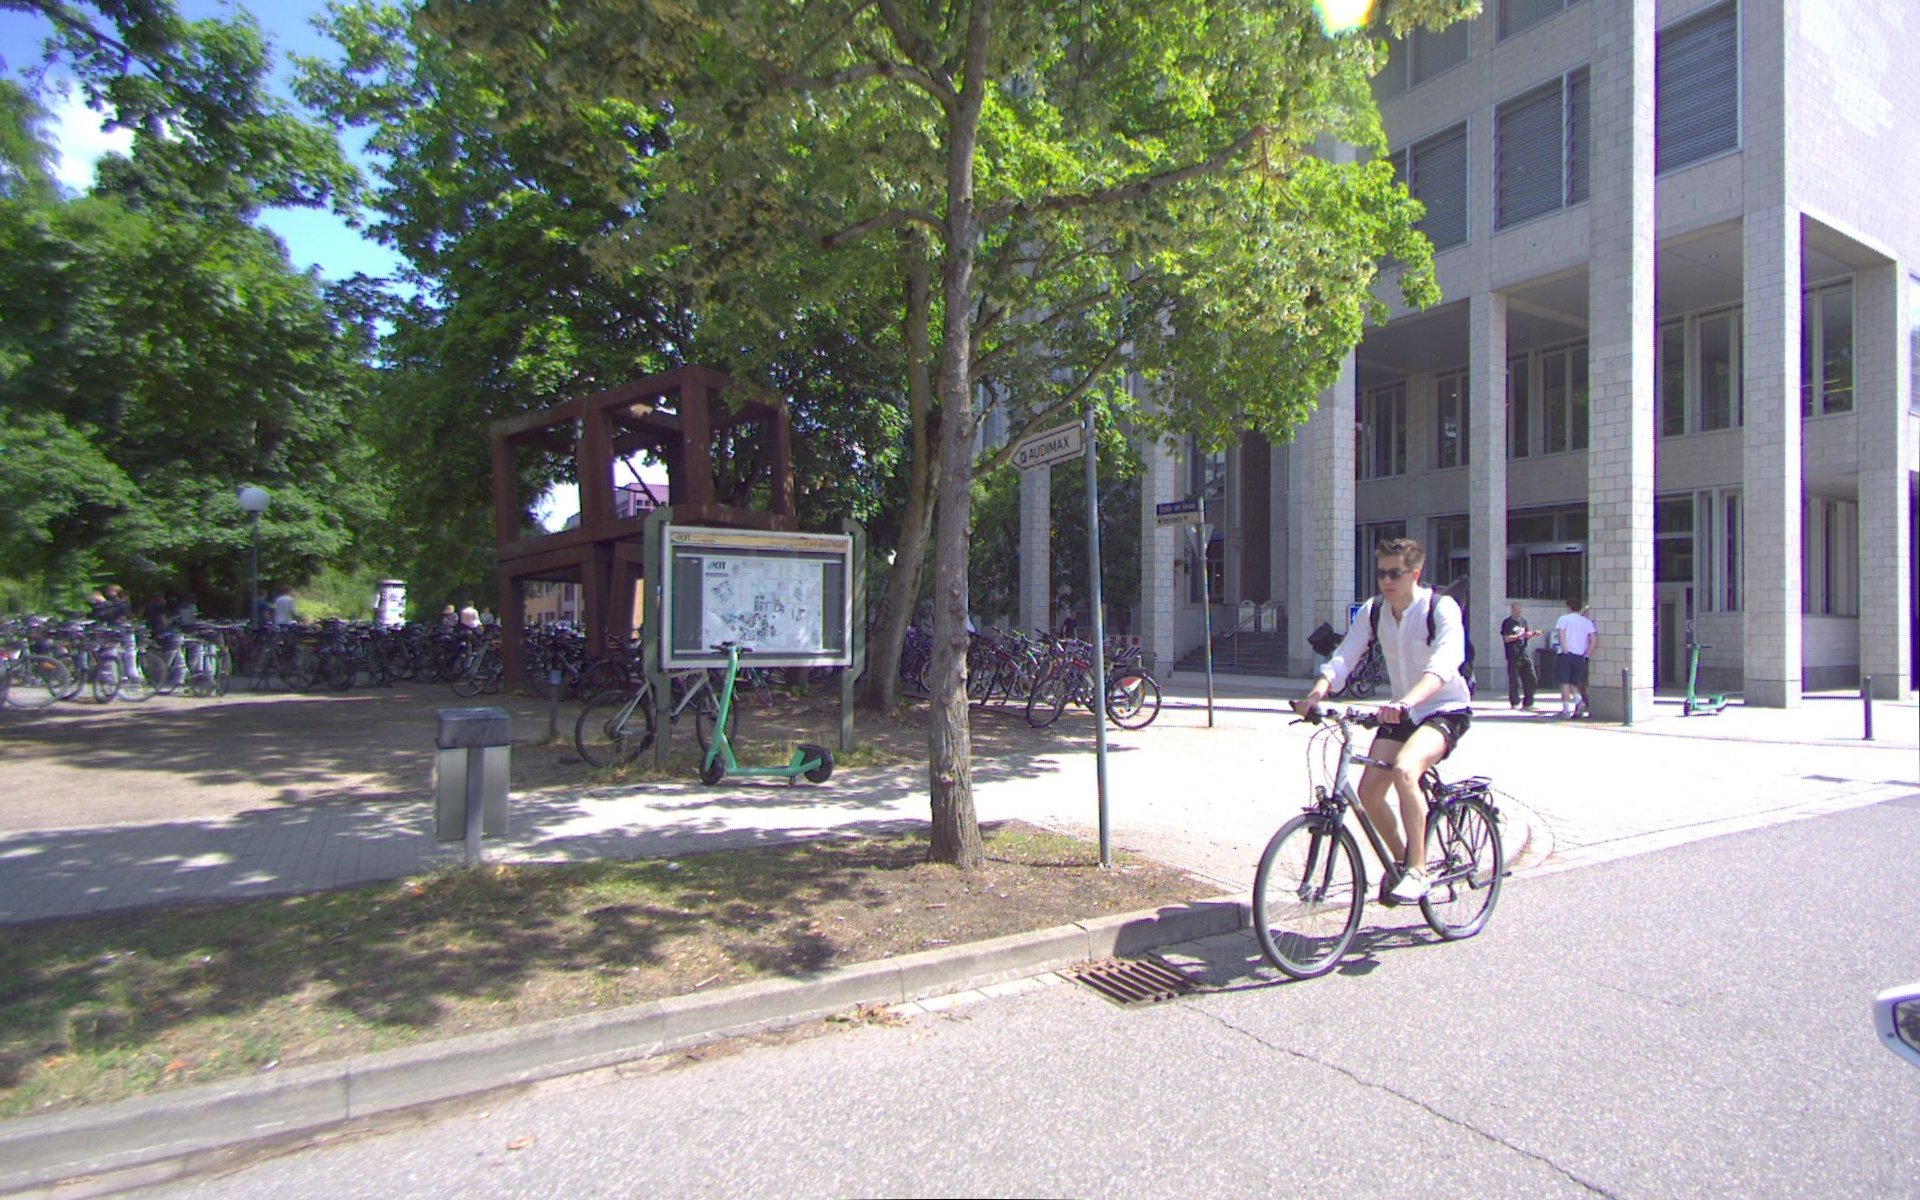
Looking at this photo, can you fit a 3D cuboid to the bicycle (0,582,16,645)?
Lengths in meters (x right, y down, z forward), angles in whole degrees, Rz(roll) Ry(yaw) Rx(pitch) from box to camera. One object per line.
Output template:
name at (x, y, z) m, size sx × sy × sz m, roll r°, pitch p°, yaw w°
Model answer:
bicycle at (-18.277, 0.240, 18.467) m, size 2.021 × 1.147 × 0.639 m, roll 0°, pitch 0°, yaw 25°

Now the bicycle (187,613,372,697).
bicycle at (-11.436, 0.888, 16.885) m, size 3.021 × 1.314 × 0.883 m, roll 0°, pitch -1°, yaw 18°

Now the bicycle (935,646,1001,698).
bicycle at (0.168, 1.843, 26.389) m, size 0.871 × 1.215 × 2.738 m, roll 1°, pitch -1°, yaw -19°

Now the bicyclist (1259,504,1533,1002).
bicyclist at (2.037, 0.646, 4.711) m, size 1.008 × 2.040 × 0.707 m, roll 1°, pitch -3°, yaw -33°

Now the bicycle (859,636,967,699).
bicycle at (-0.852, 1.228, 18.589) m, size 1.950 × 1.101 × 0.549 m, roll 1°, pitch 0°, yaw -31°

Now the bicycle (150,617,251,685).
bicycle at (-14.757, 0.972, 19.502) m, size 2.021 × 1.147 × 0.674 m, roll 3°, pitch 1°, yaw 25°

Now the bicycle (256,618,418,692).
bicycle at (-11.216, 0.955, 18.074) m, size 2.902 × 1.141 × 0.743 m, roll 3°, pitch 0°, yaw 18°

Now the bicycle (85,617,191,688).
bicycle at (-14.915, 0.926, 18.215) m, size 2.021 × 1.147 × 0.639 m, roll 3°, pitch 1°, yaw 25°

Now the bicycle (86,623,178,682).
bicycle at (-16.978, 1.064, 20.591) m, size 2.021 × 1.147 × 0.639 m, roll 0°, pitch -1°, yaw 25°

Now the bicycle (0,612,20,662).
bicycle at (-21.141, 0.797, 21.963) m, size 2.028 × 1.049 × 0.504 m, roll 0°, pitch 0°, yaw 37°

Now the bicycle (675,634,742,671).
bicycle at (-7.822, 1.616, 31.311) m, size 1.950 × 1.101 × 0.549 m, roll 1°, pitch 0°, yaw -31°

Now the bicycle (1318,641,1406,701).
bicycle at (7.687, 1.331, 19.163) m, size 1.840 × 1.028 × 0.463 m, roll -1°, pitch 1°, yaw -27°

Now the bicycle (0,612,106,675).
bicycle at (-17.348, 0.803, 19.201) m, size 2.263 × 1.124 × 0.734 m, roll 1°, pitch 0°, yaw 27°

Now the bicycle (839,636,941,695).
bicycle at (-1.358, 1.268, 19.770) m, size 1.950 × 1.101 × 0.549 m, roll 1°, pitch 0°, yaw -31°

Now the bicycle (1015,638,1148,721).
bicycle at (1.767, 1.112, 14.436) m, size 1.950 × 1.101 × 0.549 m, roll 1°, pitch 0°, yaw -31°

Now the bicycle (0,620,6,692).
bicycle at (-16.235, 0.884, 16.127) m, size 2.021 × 1.147 × 0.639 m, roll 0°, pitch 0°, yaw 25°

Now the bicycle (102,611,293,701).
bicycle at (-11.971, 0.842, 15.760) m, size 2.875 × 1.304 × 0.883 m, roll 0°, pitch -1°, yaw 18°

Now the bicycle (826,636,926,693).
bicycle at (-1.681, 1.283, 20.286) m, size 1.950 × 1.101 × 0.549 m, roll 1°, pitch 0°, yaw -31°

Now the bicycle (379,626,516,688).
bicycle at (-10.458, 1.140, 20.494) m, size 2.708 × 1.083 × 0.743 m, roll 3°, pitch 0°, yaw 18°

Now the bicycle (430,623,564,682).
bicycle at (-9.972, 1.111, 21.632) m, size 2.853 × 1.171 × 0.743 m, roll 1°, pitch 0°, yaw 18°

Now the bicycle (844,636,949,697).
bicycle at (-1.207, 1.245, 19.190) m, size 1.950 × 1.101 × 0.549 m, roll 1°, pitch 0°, yaw -31°

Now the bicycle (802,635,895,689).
bicycle at (-2.418, 1.334, 21.838) m, size 1.950 × 1.101 × 0.549 m, roll 1°, pitch 0°, yaw -31°

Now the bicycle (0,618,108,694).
bicycle at (-15.477, 0.932, 17.128) m, size 2.021 × 1.147 × 0.639 m, roll 2°, pitch 1°, yaw 25°

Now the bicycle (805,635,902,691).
bicycle at (-2.220, 1.302, 21.048) m, size 1.950 × 1.101 × 0.549 m, roll 1°, pitch 0°, yaw -31°

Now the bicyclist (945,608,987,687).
bicyclist at (0.142, 1.243, 26.491) m, size 0.863 × 2.040 × 0.846 m, roll 1°, pitch -1°, yaw -19°

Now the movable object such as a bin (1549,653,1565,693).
movable object such as a bin at (13.847, 1.688, 23.287) m, size 0.444 × 0.906 × 0.167 m, roll 1°, pitch -1°, yaw -36°

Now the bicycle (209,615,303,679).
bicycle at (-14.419, 0.945, 20.566) m, size 2.021 × 1.147 × 0.639 m, roll 3°, pitch 1°, yaw 25°

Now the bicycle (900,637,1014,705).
bicycle at (-0.035, 1.194, 17.342) m, size 1.950 × 1.101 × 0.549 m, roll 1°, pitch 0°, yaw -31°

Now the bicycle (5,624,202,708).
bicycle at (-12.318, 0.915, 14.445) m, size 2.630 × 1.091 × 0.883 m, roll 0°, pitch -1°, yaw 18°

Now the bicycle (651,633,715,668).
bicycle at (-9.112, 1.657, 33.043) m, size 1.950 × 1.101 × 0.549 m, roll 1°, pitch 0°, yaw -31°

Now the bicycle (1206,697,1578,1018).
bicycle at (2.067, 1.079, 4.717) m, size 1.868 × 1.144 × 0.681 m, roll 1°, pitch -2°, yaw -33°

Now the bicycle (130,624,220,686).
bicycle at (-16.645, 1.146, 21.294) m, size 2.021 × 1.147 × 0.639 m, roll 3°, pitch 1°, yaw 25°

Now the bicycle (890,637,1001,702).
bicycle at (-0.249, 1.218, 17.972) m, size 1.950 × 1.101 × 0.549 m, roll 1°, pitch 0°, yaw -31°

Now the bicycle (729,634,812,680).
bicycle at (-4.733, 1.417, 25.109) m, size 1.950 × 1.101 × 0.549 m, roll 1°, pitch 0°, yaw -31°

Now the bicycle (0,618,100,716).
bicycle at (-12.885, 0.847, 13.392) m, size 2.655 × 1.195 × 0.883 m, roll 0°, pitch -1°, yaw 18°

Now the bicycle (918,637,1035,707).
bicycle at (0.287, 1.180, 16.830) m, size 1.950 × 1.101 × 0.549 m, roll 1°, pitch 0°, yaw -31°

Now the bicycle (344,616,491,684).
bicycle at (-10.407, 0.941, 19.266) m, size 2.781 × 1.249 × 0.743 m, roll 0°, pitch -1°, yaw 18°

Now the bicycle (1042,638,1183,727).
bicycle at (2.070, 1.078, 13.514) m, size 1.950 × 1.101 × 0.549 m, roll 1°, pitch 0°, yaw -31°

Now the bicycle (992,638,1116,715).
bicycle at (1.472, 1.156, 15.550) m, size 1.950 × 1.101 × 0.549 m, roll 1°, pitch 0°, yaw -31°
